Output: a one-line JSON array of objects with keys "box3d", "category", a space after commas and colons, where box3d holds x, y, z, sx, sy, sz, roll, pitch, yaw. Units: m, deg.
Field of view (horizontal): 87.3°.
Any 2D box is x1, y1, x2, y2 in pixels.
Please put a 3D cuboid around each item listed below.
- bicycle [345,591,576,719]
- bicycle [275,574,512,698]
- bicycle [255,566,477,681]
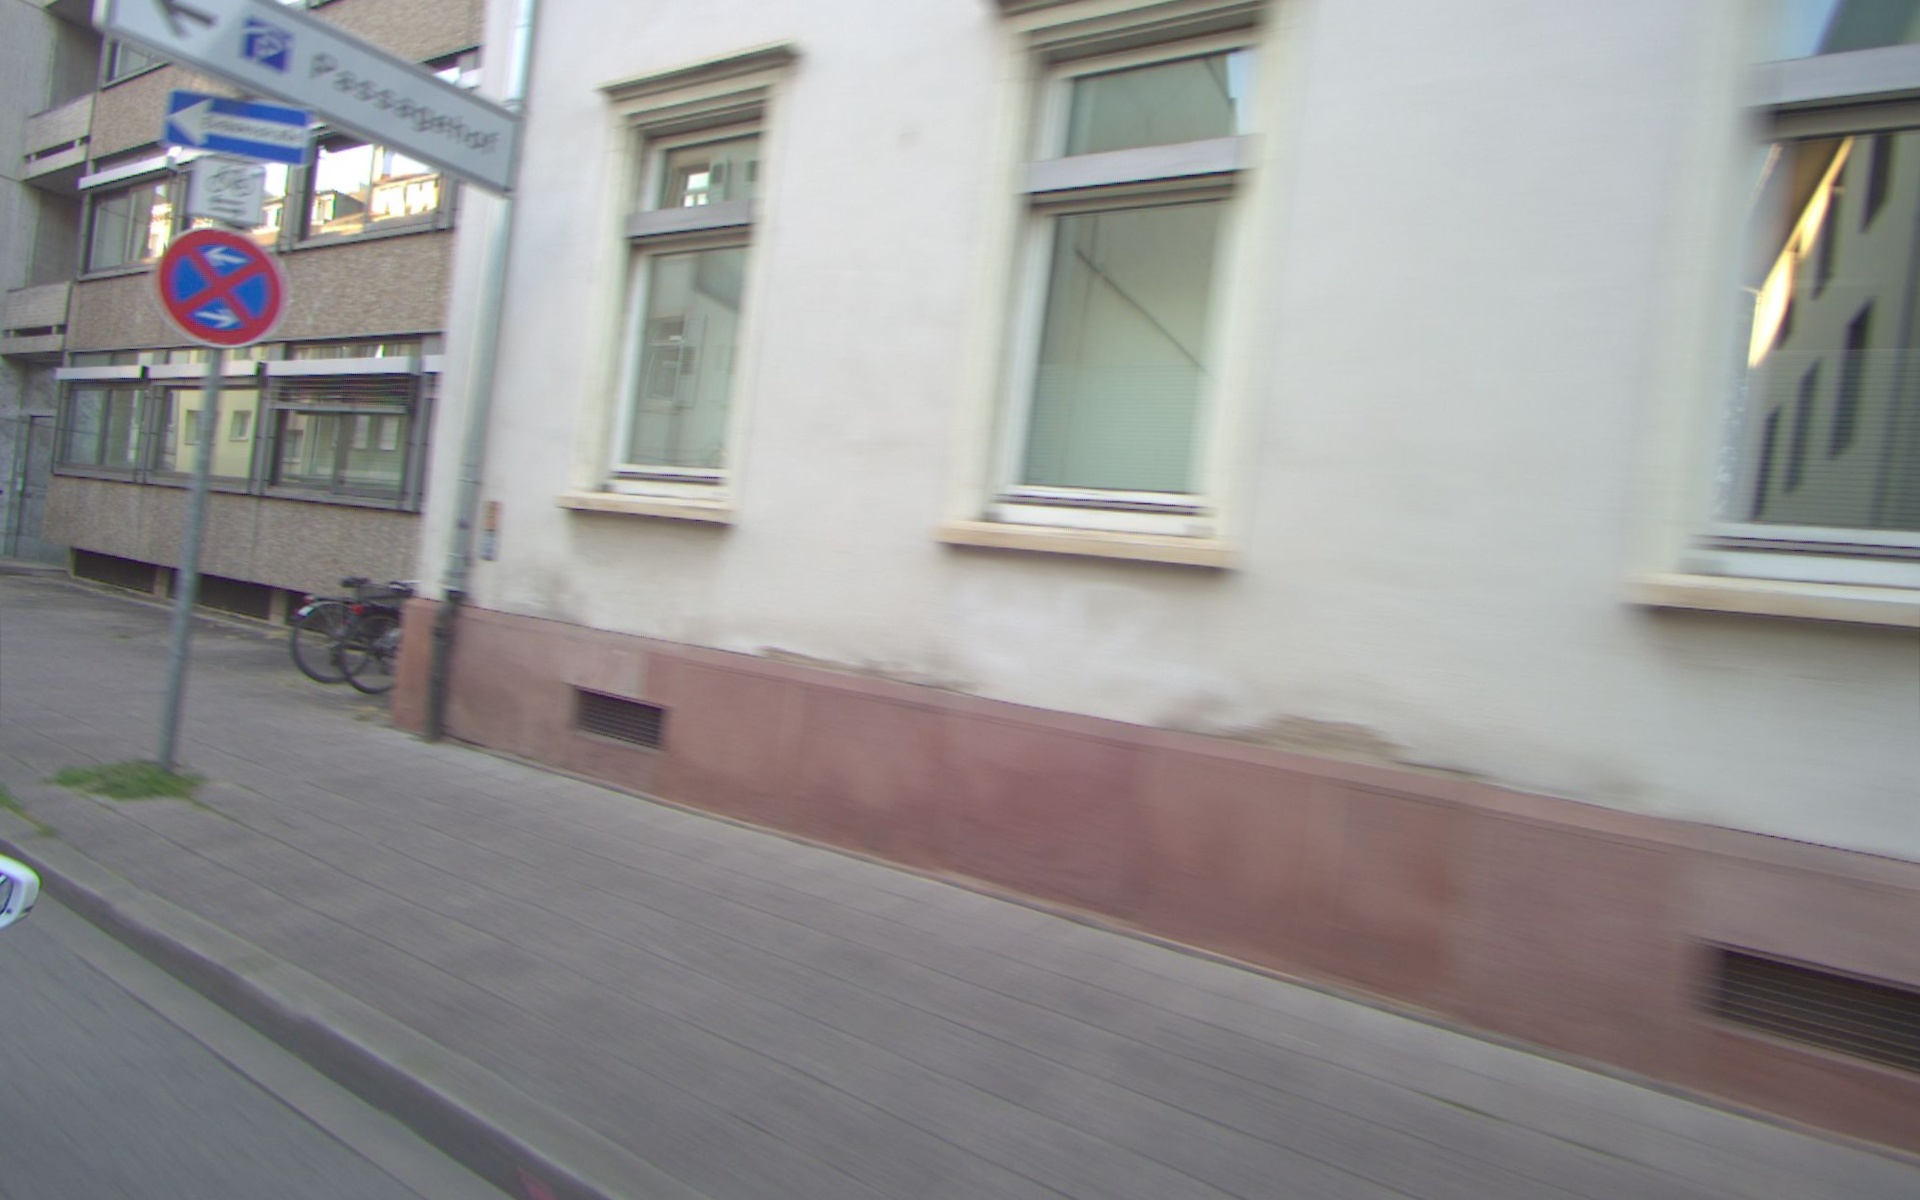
[{"box3d": [-4.216, 0.490, 8.664, 0.507, 0.934, 1.801, 7, -1, 23], "category": "bicycle"}, {"box3d": [-4.927, 0.352, 8.903, 0.528, 0.934, 1.801, 7, -1, 23], "category": "bicycle"}, {"box3d": [-5.516, 0.260, 9.471, 0.528, 0.934, 1.745, 7, -1, 24], "category": "bicycle"}]
